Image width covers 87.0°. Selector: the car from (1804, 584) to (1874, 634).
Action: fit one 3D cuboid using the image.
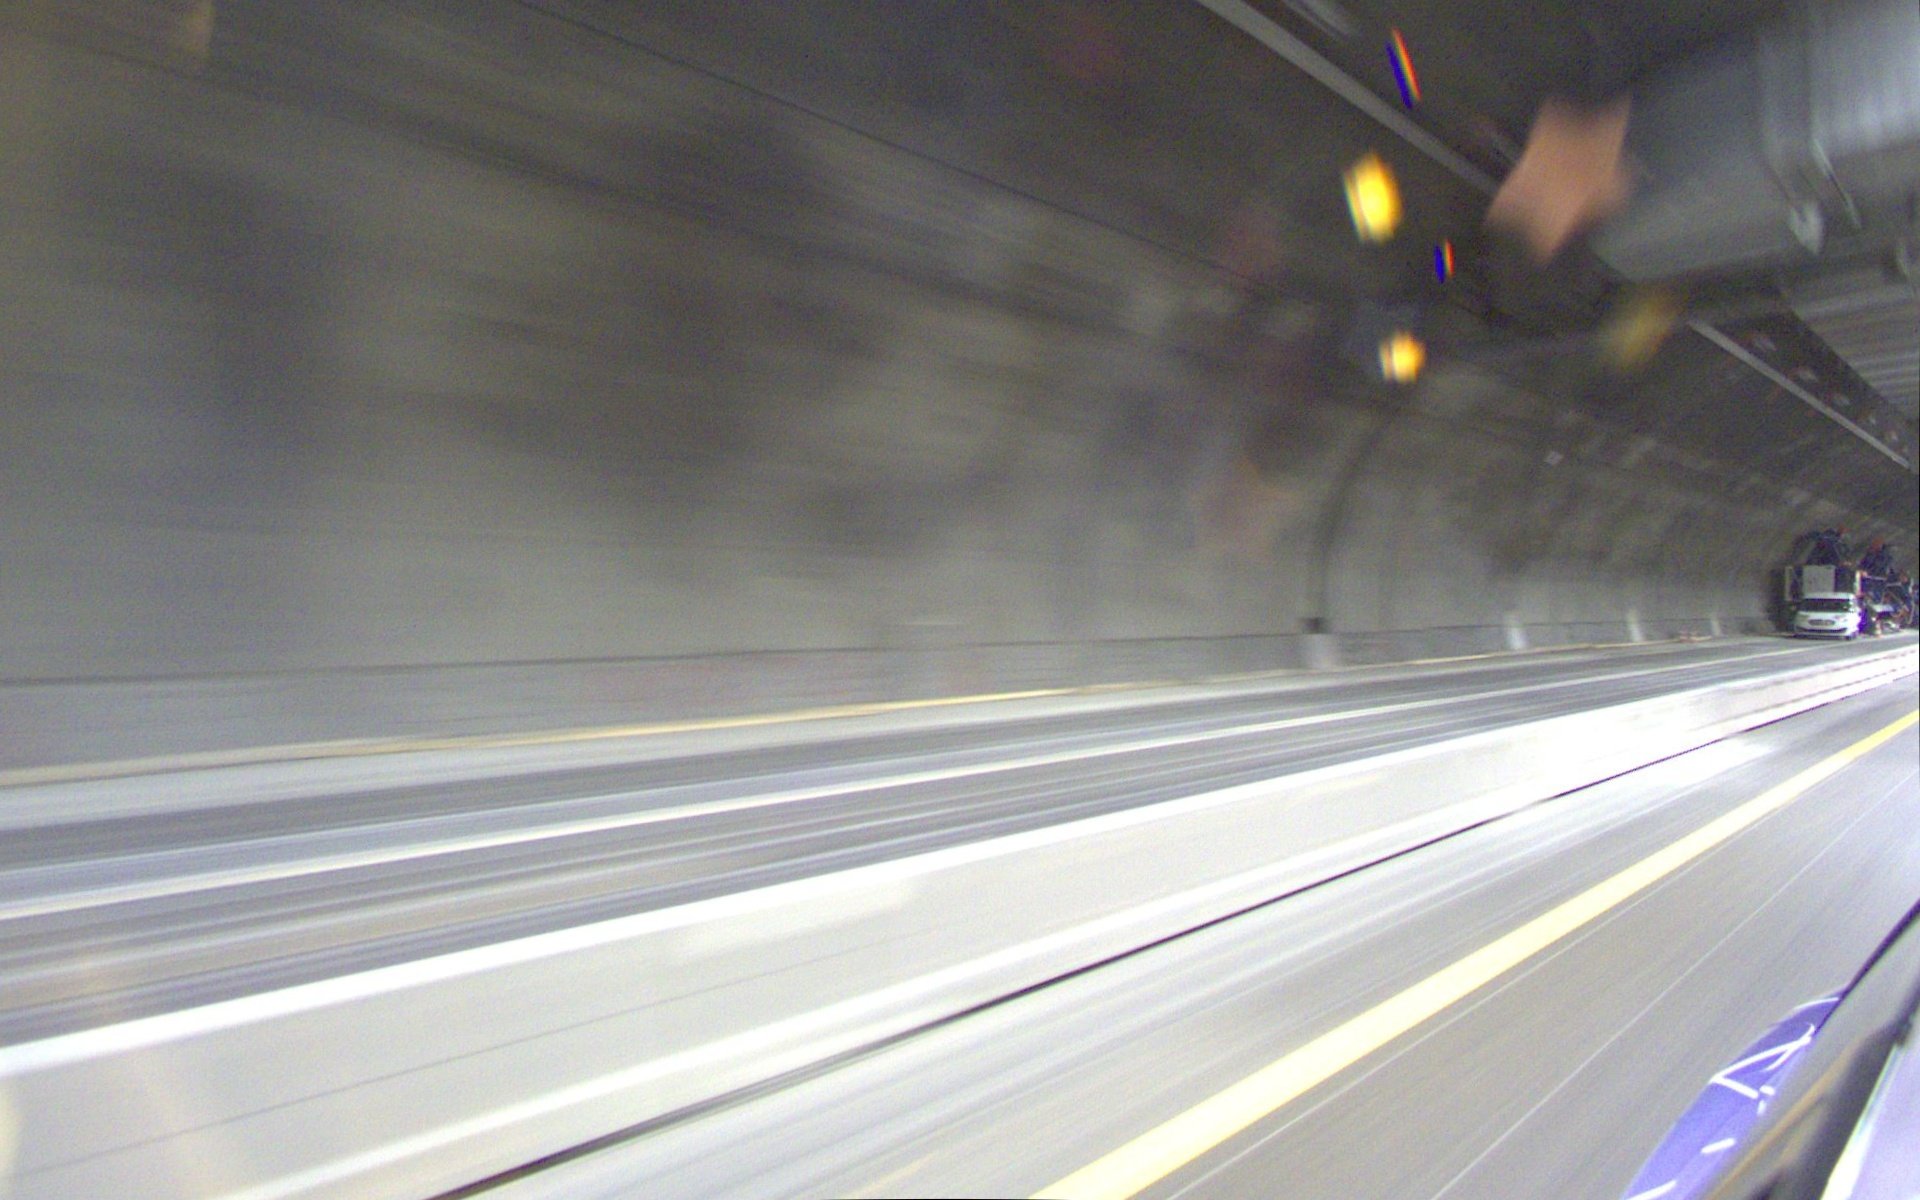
[{"bbox_3d":[34.716,0.319,39.908,4.570,1.868,1.752,0,1,-45],"label":"car"}]
